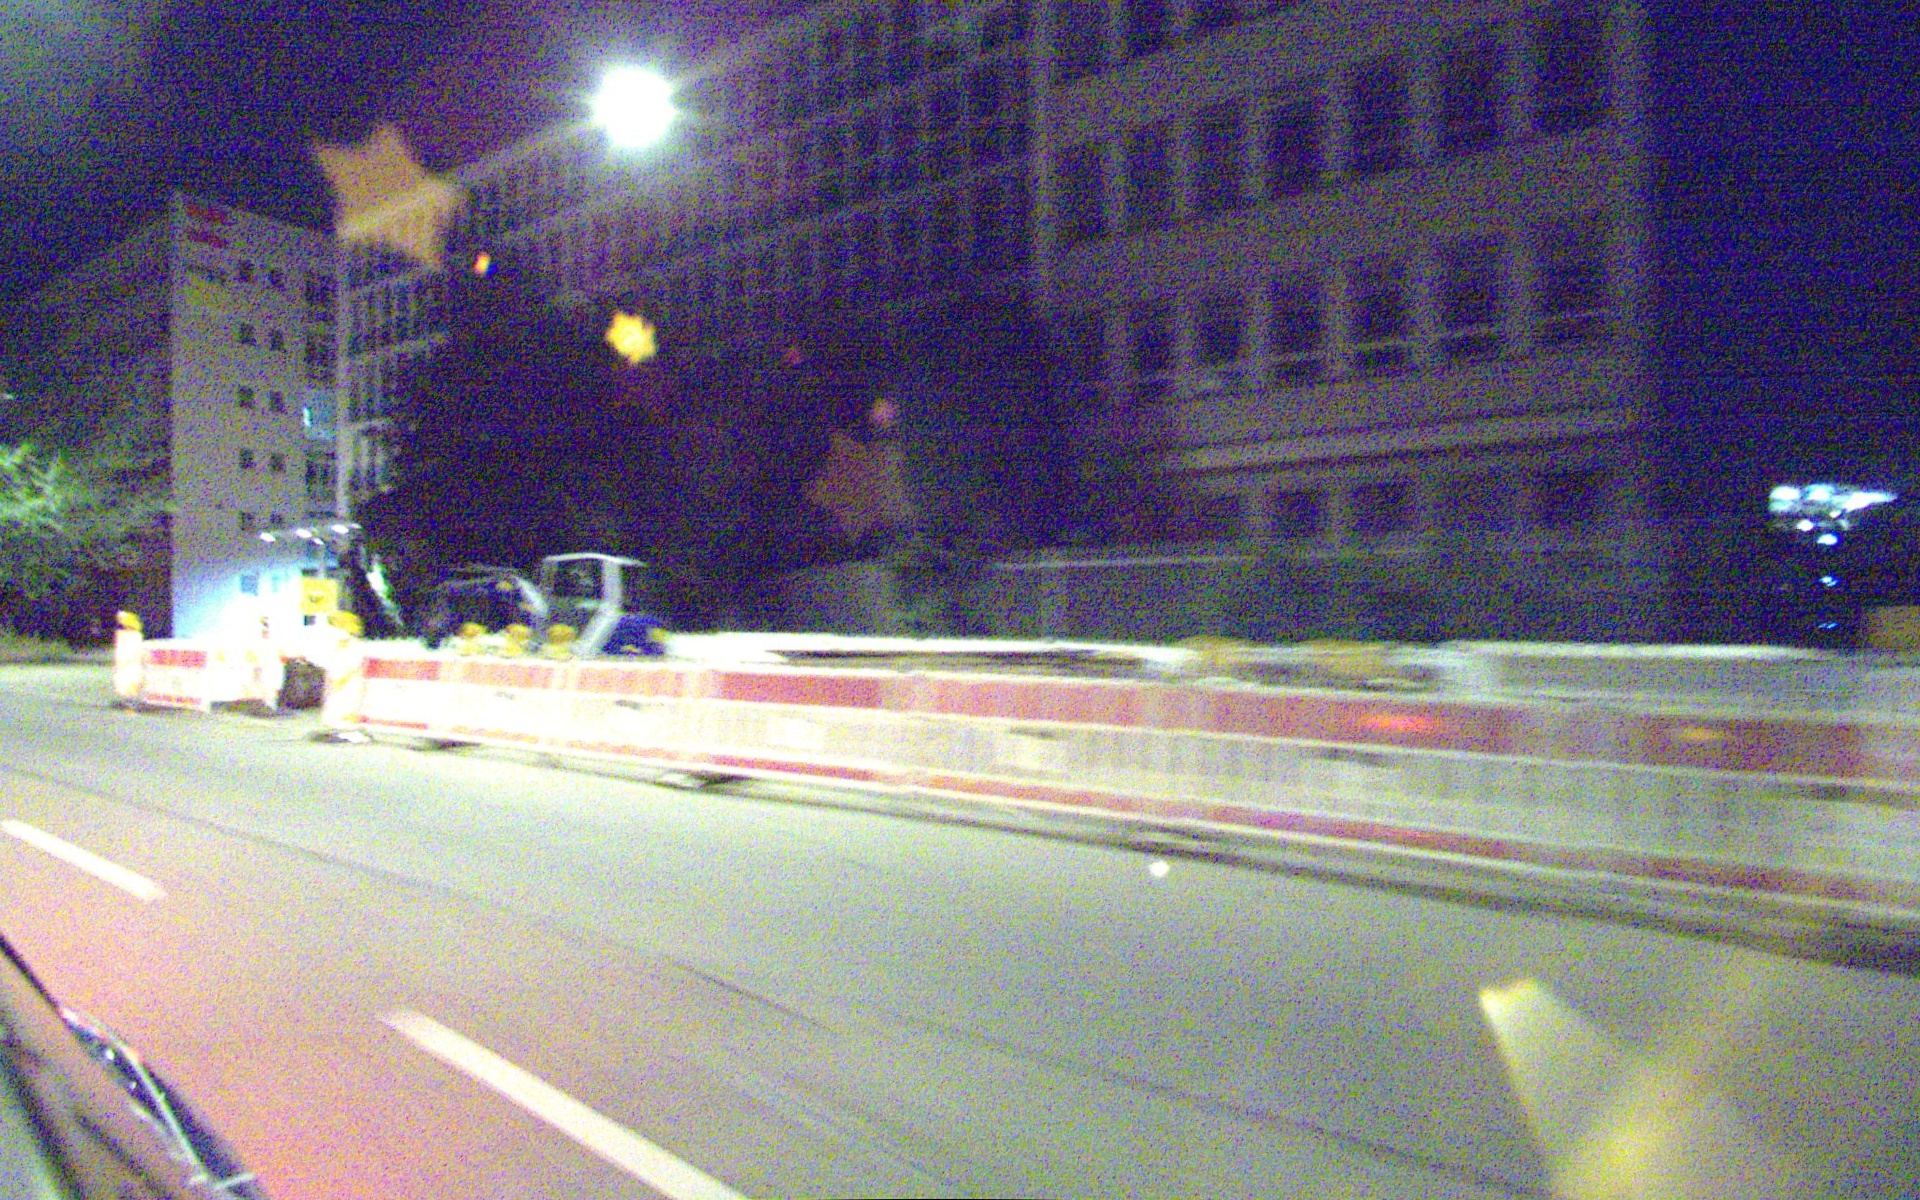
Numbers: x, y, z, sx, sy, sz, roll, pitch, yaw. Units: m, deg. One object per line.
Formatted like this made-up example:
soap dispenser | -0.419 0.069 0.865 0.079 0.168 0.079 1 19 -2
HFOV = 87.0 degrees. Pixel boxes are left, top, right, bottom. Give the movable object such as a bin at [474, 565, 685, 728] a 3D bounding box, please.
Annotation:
movable object such as a bin | -6.163 0.730 16.514 2.812 2.486 1.547 0 -2 13

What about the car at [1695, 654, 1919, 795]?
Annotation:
car | 18.004 2.469 20.893 4.477 2.574 1.974 -2 -1 38

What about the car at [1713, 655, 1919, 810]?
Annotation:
car | 16.841 2.377 18.805 4.477 2.574 1.974 -2 -1 38
